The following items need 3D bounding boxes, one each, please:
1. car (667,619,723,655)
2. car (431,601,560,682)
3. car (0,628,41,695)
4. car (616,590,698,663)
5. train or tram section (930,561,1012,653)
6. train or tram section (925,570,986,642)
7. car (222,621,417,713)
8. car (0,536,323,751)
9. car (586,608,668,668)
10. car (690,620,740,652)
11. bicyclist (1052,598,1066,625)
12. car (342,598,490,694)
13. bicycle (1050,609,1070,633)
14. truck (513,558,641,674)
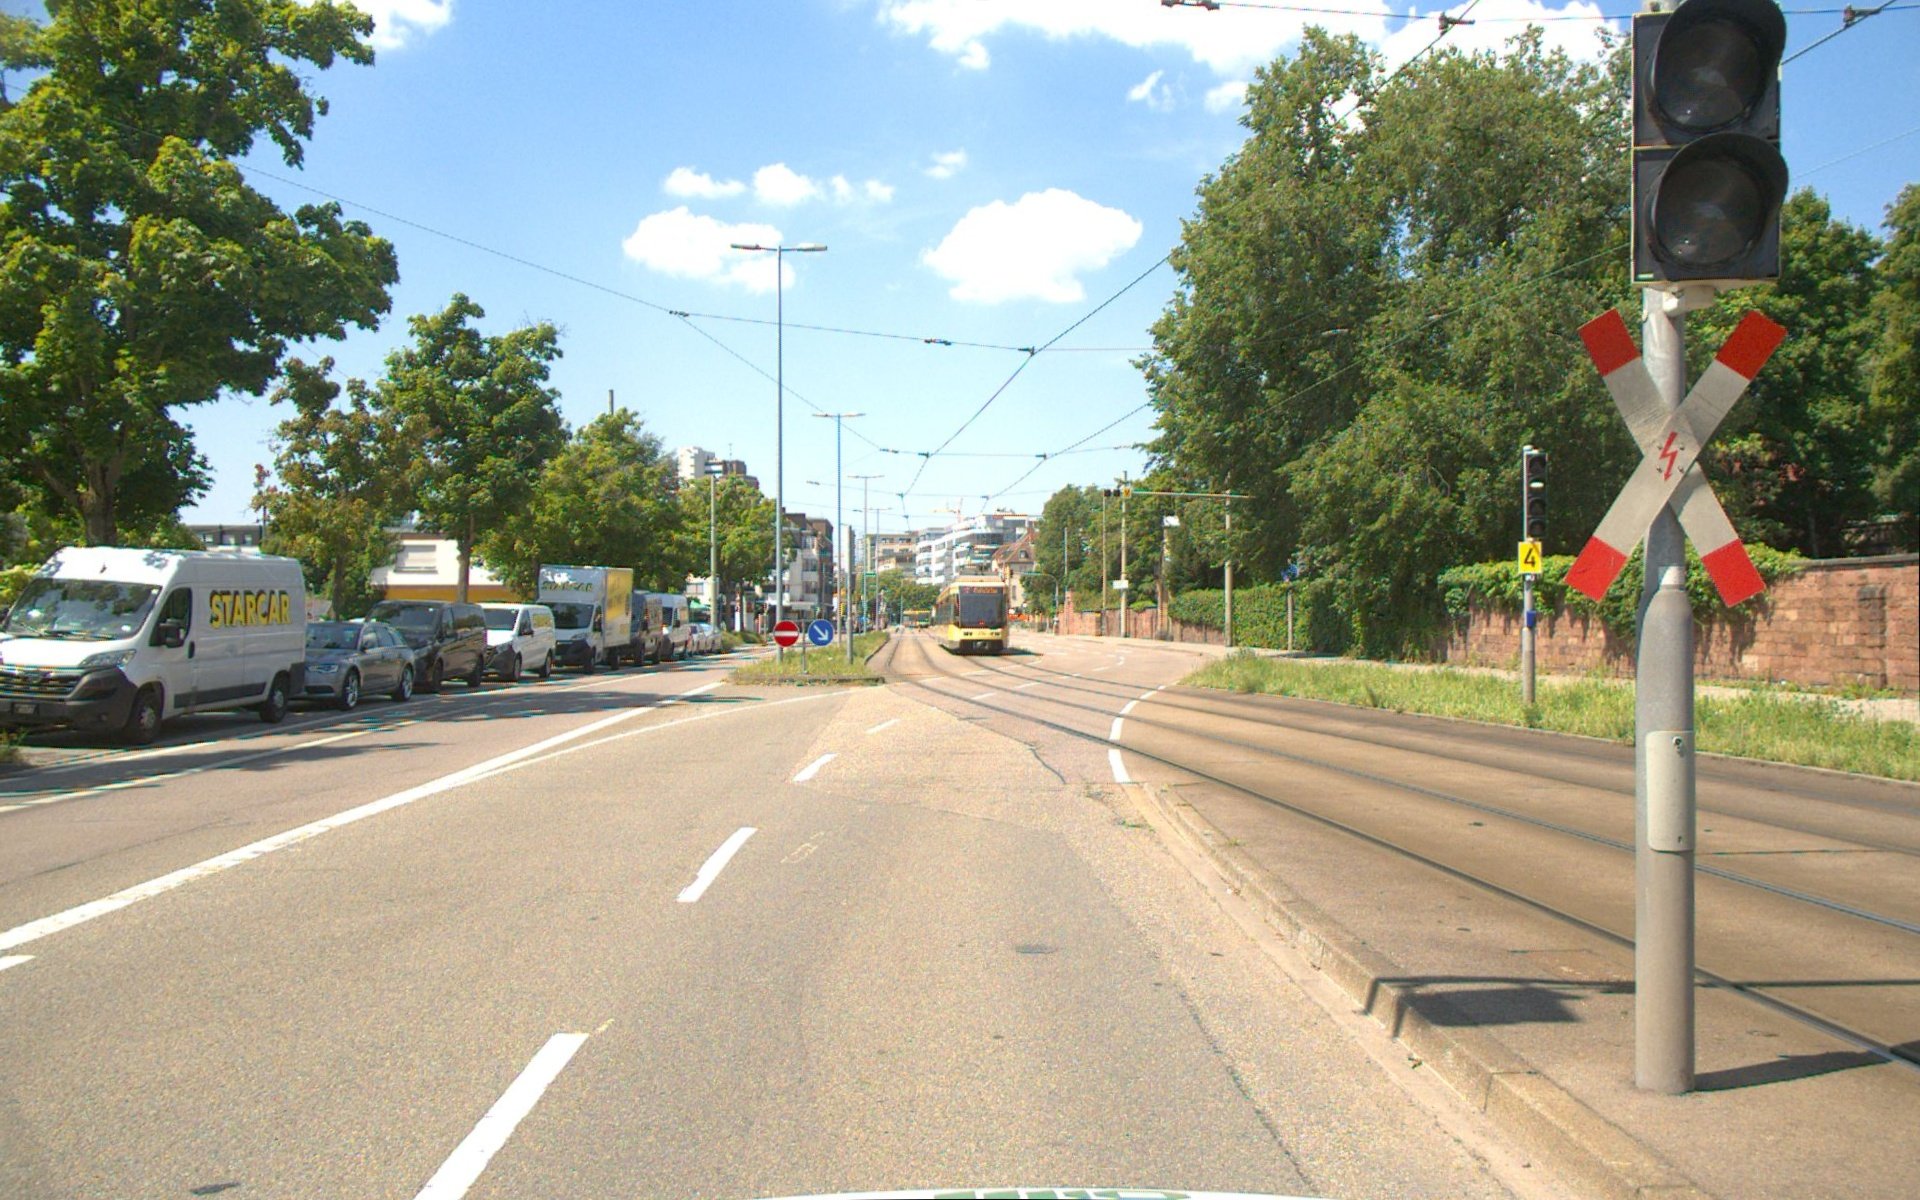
[{"bbox_3d":[-12.732,1.763,79.812,2.019,1.609,4.869,-1,0,-1],"label":"car"},{"bbox_3d":[-11.834,1.024,42.507,2.019,1.931,4.869,-1,0,-1],"label":"car"},{"bbox_3d":[-21.643,1.297,34.498,3.907,1.363,1.804,-1,0,-3],"label":"car"},{"bbox_3d":[-12.061,1.040,66.225,2.113,2.685,5.611,3,0,0],"label":"car"},{"bbox_3d":[0.282,0.311,77.231,2.884,3.757,18.379,1,0,-2],"label":"train or tram section"},{"bbox_3d":[-0.469,0.366,96.521,2.884,3.757,20.274,1,0,-2],"label":"train or tram section"},{"bbox_3d":[-11.209,1.126,29.289,1.831,1.462,4.341,-1,0,-1],"label":"car"},{"bbox_3d":[-11.229,0.524,23.079,2.113,2.530,6.193,3,0,0],"label":"car"},{"bbox_3d":[-11.740,1.312,58.633,2.019,2.011,4.869,-1,0,-1],"label":"car"},{"bbox_3d":[-12.898,1.878,87.373,2.019,1.609,4.869,-1,0,-1],"label":"car"},{"bbox_3d":[8.024,0.928,133.920,1.074,2.145,1.031,0,-1,-2],"label":"bicyclist"},{"bbox_3d":[-11.612,0.946,35.587,1.831,1.928,4.269,-1,0,-1],"label":"car"},{"bbox_3d":[8.103,1.684,134.025,1.071,1.941,3.678,-1,-1,-5],"label":"bicycle"},{"bbox_3d":[-11.713,0.482,51.161,2.112,3.266,7.082,3,0,0],"label":"truck"}]
